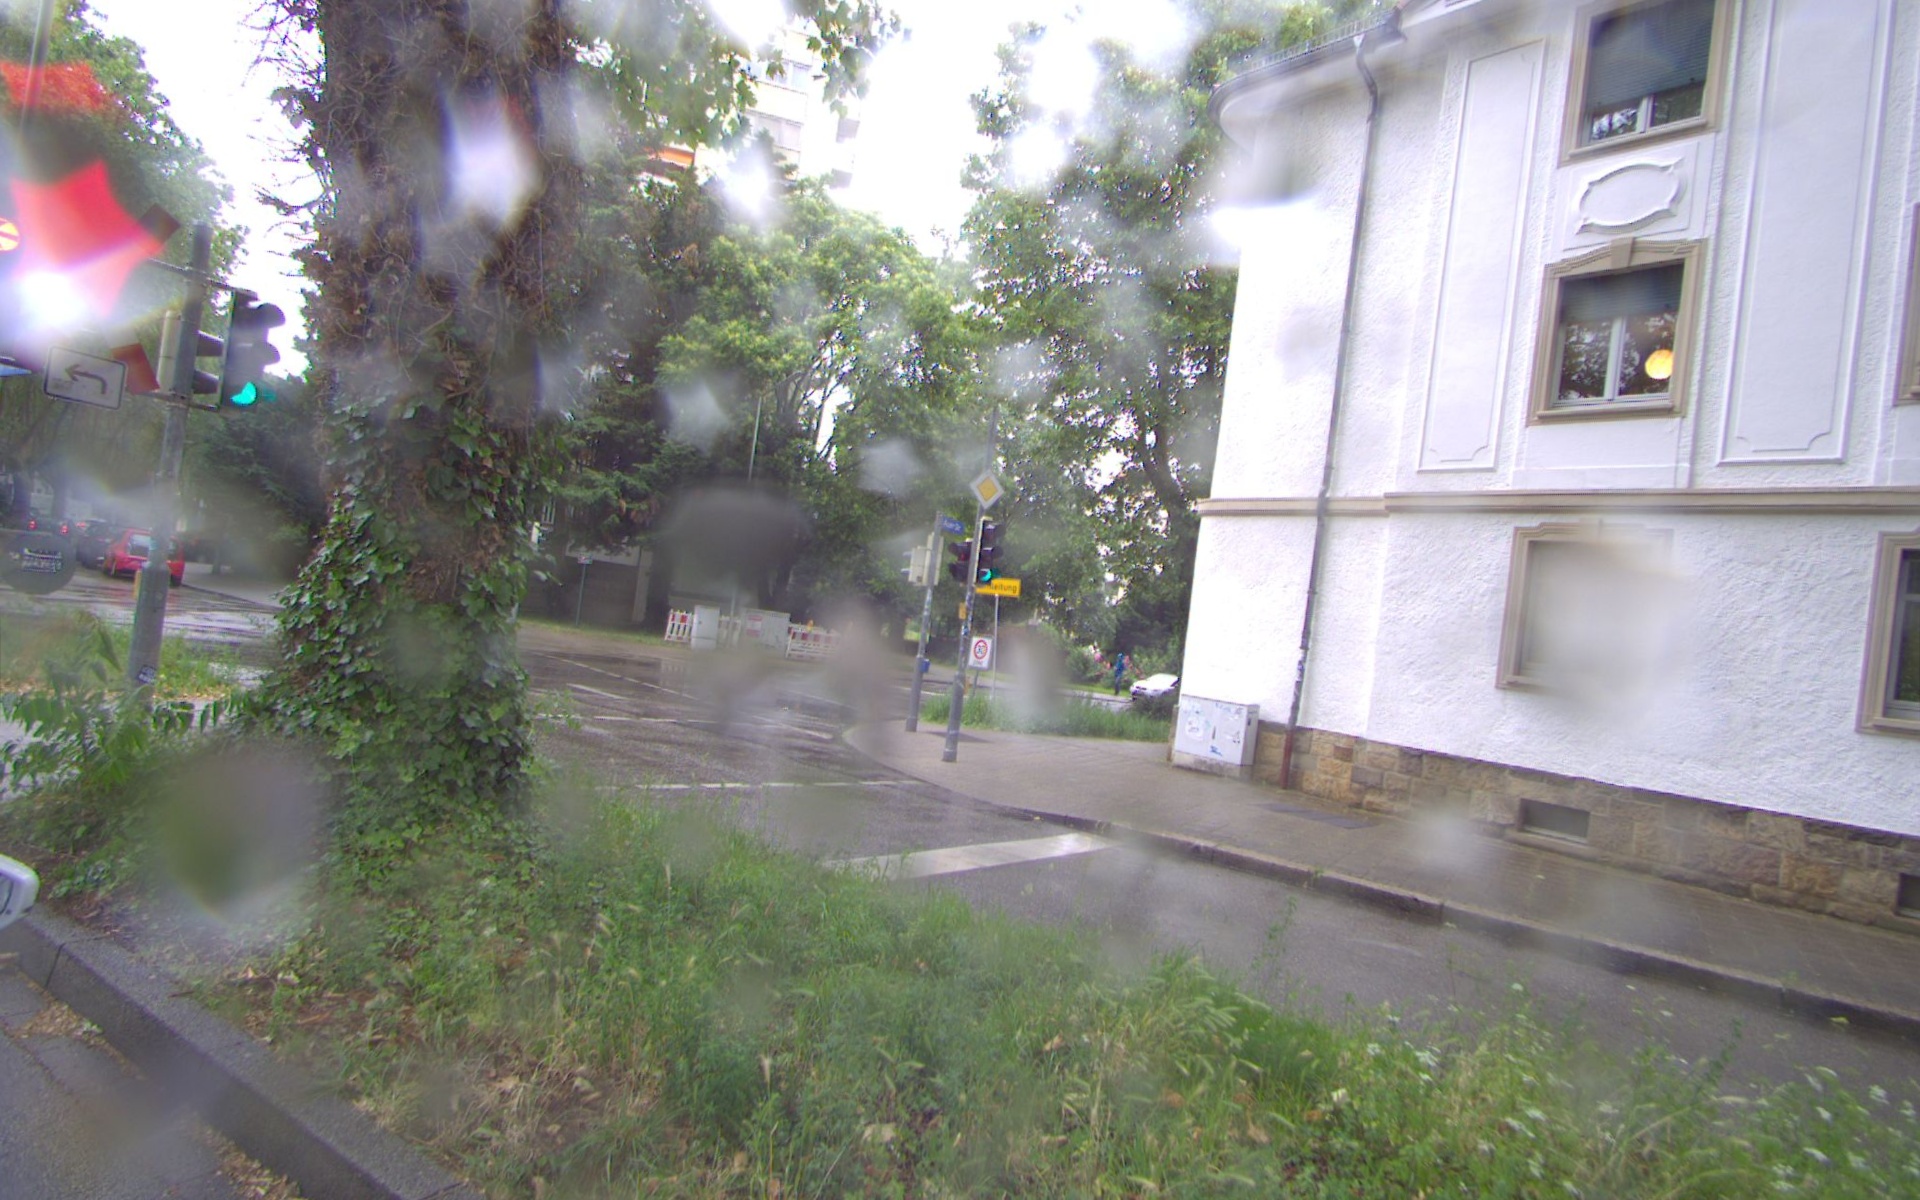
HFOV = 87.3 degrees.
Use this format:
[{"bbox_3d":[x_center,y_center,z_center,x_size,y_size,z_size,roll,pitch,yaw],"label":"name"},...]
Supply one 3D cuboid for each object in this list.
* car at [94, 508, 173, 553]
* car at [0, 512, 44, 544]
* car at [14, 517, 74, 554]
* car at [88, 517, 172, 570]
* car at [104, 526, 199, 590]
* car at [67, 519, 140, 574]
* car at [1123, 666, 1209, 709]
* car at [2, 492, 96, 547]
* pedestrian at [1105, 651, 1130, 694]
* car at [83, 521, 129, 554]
[{"bbox_3d":[-69.652,-5.834,84.826,4.683,2.982,2.001,7,-1,1],"label":"car"},{"bbox_3d":[-56.208,-4.373,58.641,1.974,1.565,3.980,6,-3,44],"label":"car"},{"bbox_3d":[-44.715,-3.116,49.169,1.673,1.491,3.627,8,-2,-37],"label":"car"},{"bbox_3d":[-28.100,-1.937,34.012,1.780,1.363,3.879,10,-2,-44],"label":"car"},{"bbox_3d":[-24.834,-1.309,30.855,1.788,1.515,3.950,10,-2,-44],"label":"car"},{"bbox_3d":[-33.022,-2.071,38.749,1.779,1.747,3.951,9,-2,-44],"label":"car"},{"bbox_3d":[9.408,4.001,45.818,1.829,1.473,3.979,6,-3,45],"label":"car"},{"bbox_3d":[-61.114,-5.386,67.545,4.680,2.982,2.043,7,-1,12],"label":"car"},{"bbox_3d":[7.271,3.362,46.494,0.670,1.863,0.713,6,-1,44],"label":"pedestrian"},{"bbox_3d":[-52.491,-3.842,61.901,1.766,1.697,3.960,8,-2,-37],"label":"car"}]
